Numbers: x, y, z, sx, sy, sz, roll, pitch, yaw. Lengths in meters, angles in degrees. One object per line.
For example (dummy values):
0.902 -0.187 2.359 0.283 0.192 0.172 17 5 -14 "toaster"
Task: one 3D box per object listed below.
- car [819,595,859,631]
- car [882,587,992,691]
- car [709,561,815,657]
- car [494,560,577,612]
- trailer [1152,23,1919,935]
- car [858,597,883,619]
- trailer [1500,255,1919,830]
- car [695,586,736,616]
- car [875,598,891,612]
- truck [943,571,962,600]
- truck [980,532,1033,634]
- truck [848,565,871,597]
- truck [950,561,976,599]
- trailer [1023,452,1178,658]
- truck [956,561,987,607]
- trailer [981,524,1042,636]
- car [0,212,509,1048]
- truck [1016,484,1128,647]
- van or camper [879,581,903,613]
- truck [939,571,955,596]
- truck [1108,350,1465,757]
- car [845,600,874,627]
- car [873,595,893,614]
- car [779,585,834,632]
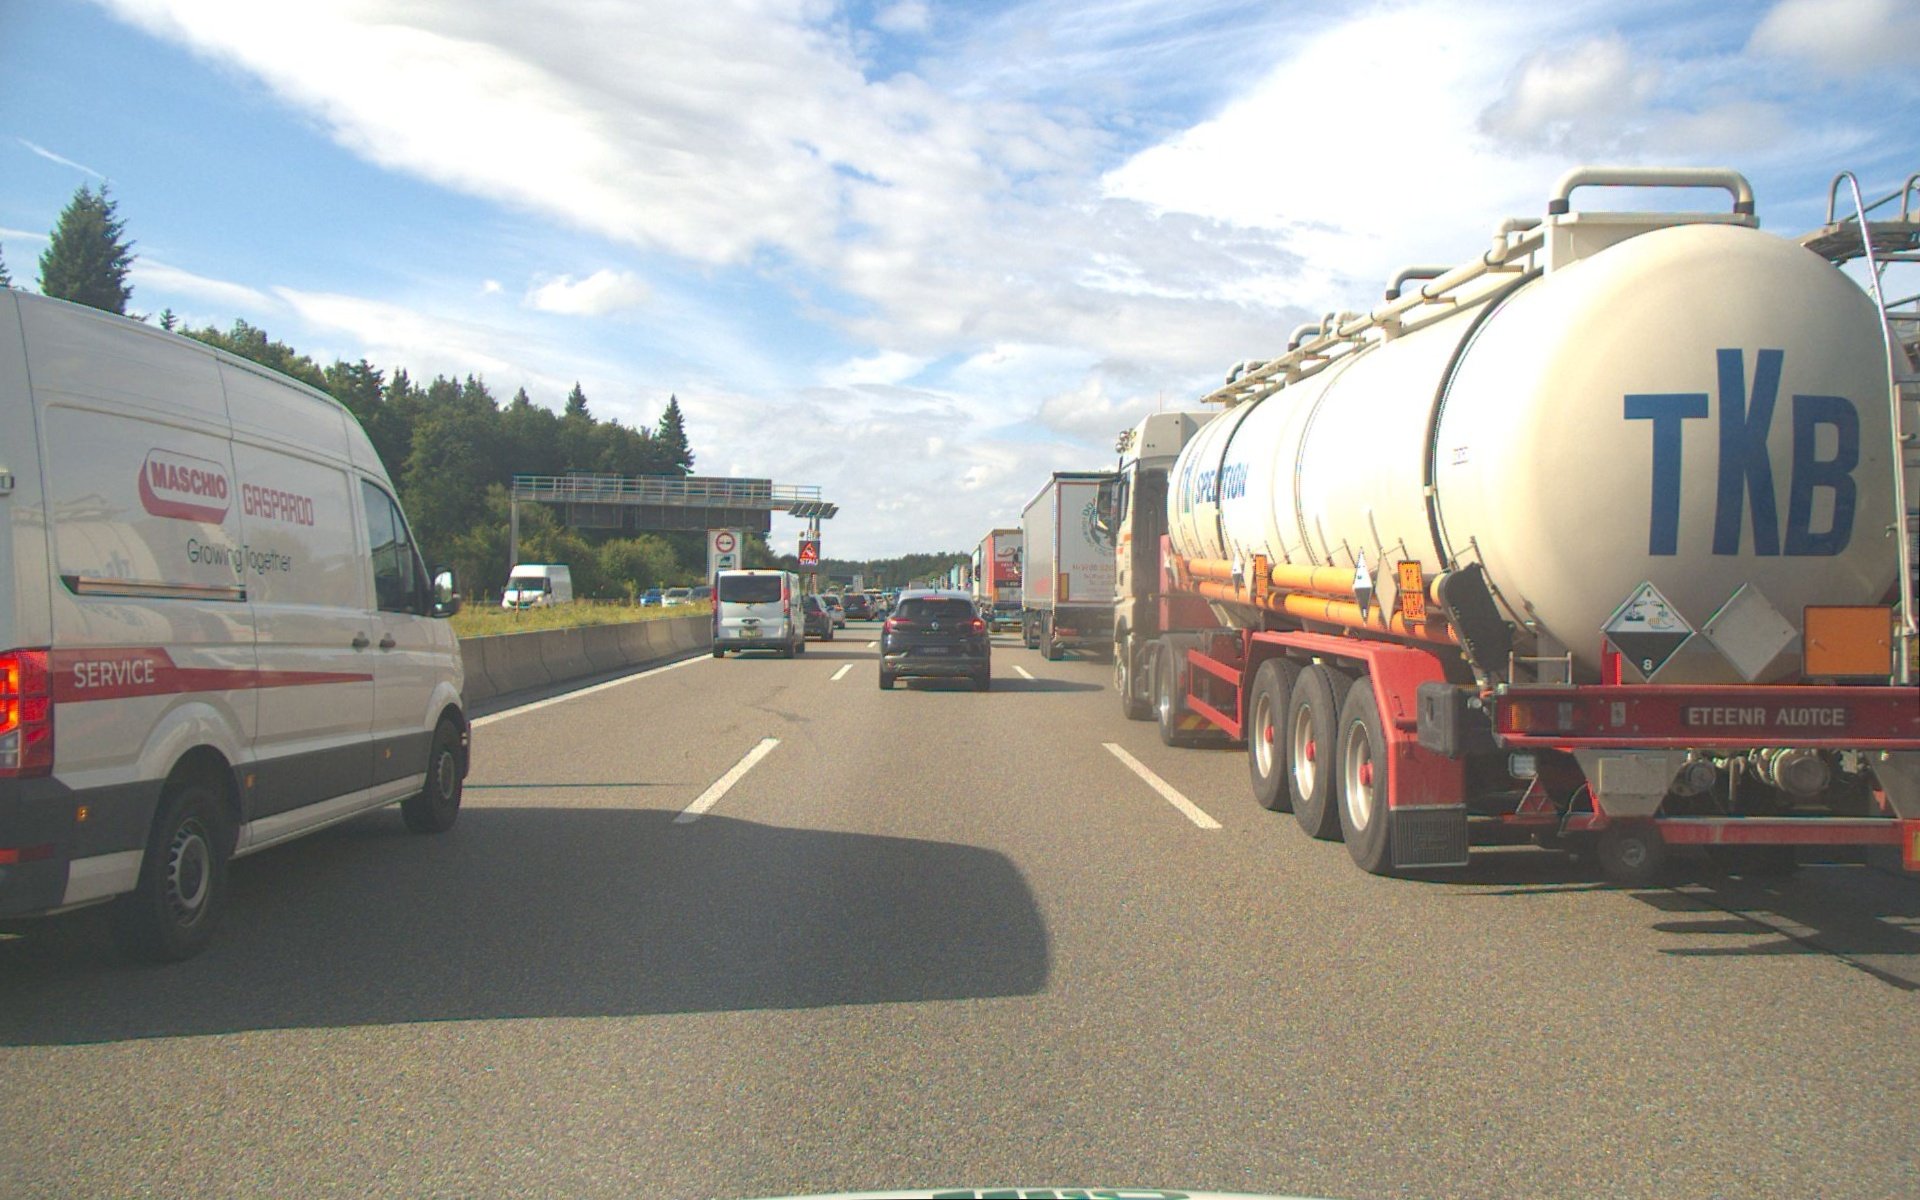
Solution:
-5.242 0.548 71.729 1.470 1.420 3.475 4 0 -1 "car"
-0.338 0.585 27.304 1.662 1.508 4.160 1 1 0 "car"
-4.650 0.207 39.466 1.894 2.013 5.097 4 0 -1 "car"
-20.259 -0.623 79.329 2.269 2.231 6.860 4 0 -2 "car"
3.357 -0.476 12.091 2.489 3.718 10.624 1 0 -1 "trailer"
-5.834 0.538 108.007 1.406 1.333 3.532 4 0 -2 "car"
7.311 -0.357 13.053 2.489 3.661 10.624 0 0 -1 "trailer"
-13.872 0.050 93.858 1.791 1.633 3.808 0 0 -1 "car"
-6.856 0.465 147.129 1.333 1.179 3.084 1 0 -1 "car"
-0.878 -1.634 187.480 1.953 3.105 4.980 4 0 -1 "truck"
2.036 -0.738 74.317 2.090 4.357 6.337 1 0 -1 "truck"
-12.130 -2.270 200.524 2.297 3.656 6.304 4 0 -1 "truck"
0.217 -1.677 141.834 1.953 3.105 4.980 4 0 -1 "truck"
3.158 -0.926 40.247 2.745 4.318 11.055 0 0 0 "trailer"
0.772 -1.091 116.414 1.953 2.982 4.980 4 0 -1 "truck"
2.062 -0.760 68.368 2.106 4.333 8.439 1 0 -1 "trailer"
-4.024 0.084 8.293 1.974 2.644 6.180 0 0 -2 "car"
3.104 -0.905 47.302 2.729 4.321 6.459 0 0 0 "truck"
-5.924 -0.292 142.545 1.908 2.638 7.150 1 0 -2 "van or camper"
-1.695 -2.106 214.002 1.953 3.105 4.980 4 0 -1 "truck"
3.254 -0.413 18.303 2.482 3.646 6.727 1 0 -1 "truck"
-5.484 0.742 90.297 1.406 1.333 3.532 4 0 -2 "car"
-5.699 0.335 122.682 1.333 1.323 3.084 4 0 -1 "car"
-4.761 0.262 51.726 1.469 1.420 3.475 0 0 -1 "car"
